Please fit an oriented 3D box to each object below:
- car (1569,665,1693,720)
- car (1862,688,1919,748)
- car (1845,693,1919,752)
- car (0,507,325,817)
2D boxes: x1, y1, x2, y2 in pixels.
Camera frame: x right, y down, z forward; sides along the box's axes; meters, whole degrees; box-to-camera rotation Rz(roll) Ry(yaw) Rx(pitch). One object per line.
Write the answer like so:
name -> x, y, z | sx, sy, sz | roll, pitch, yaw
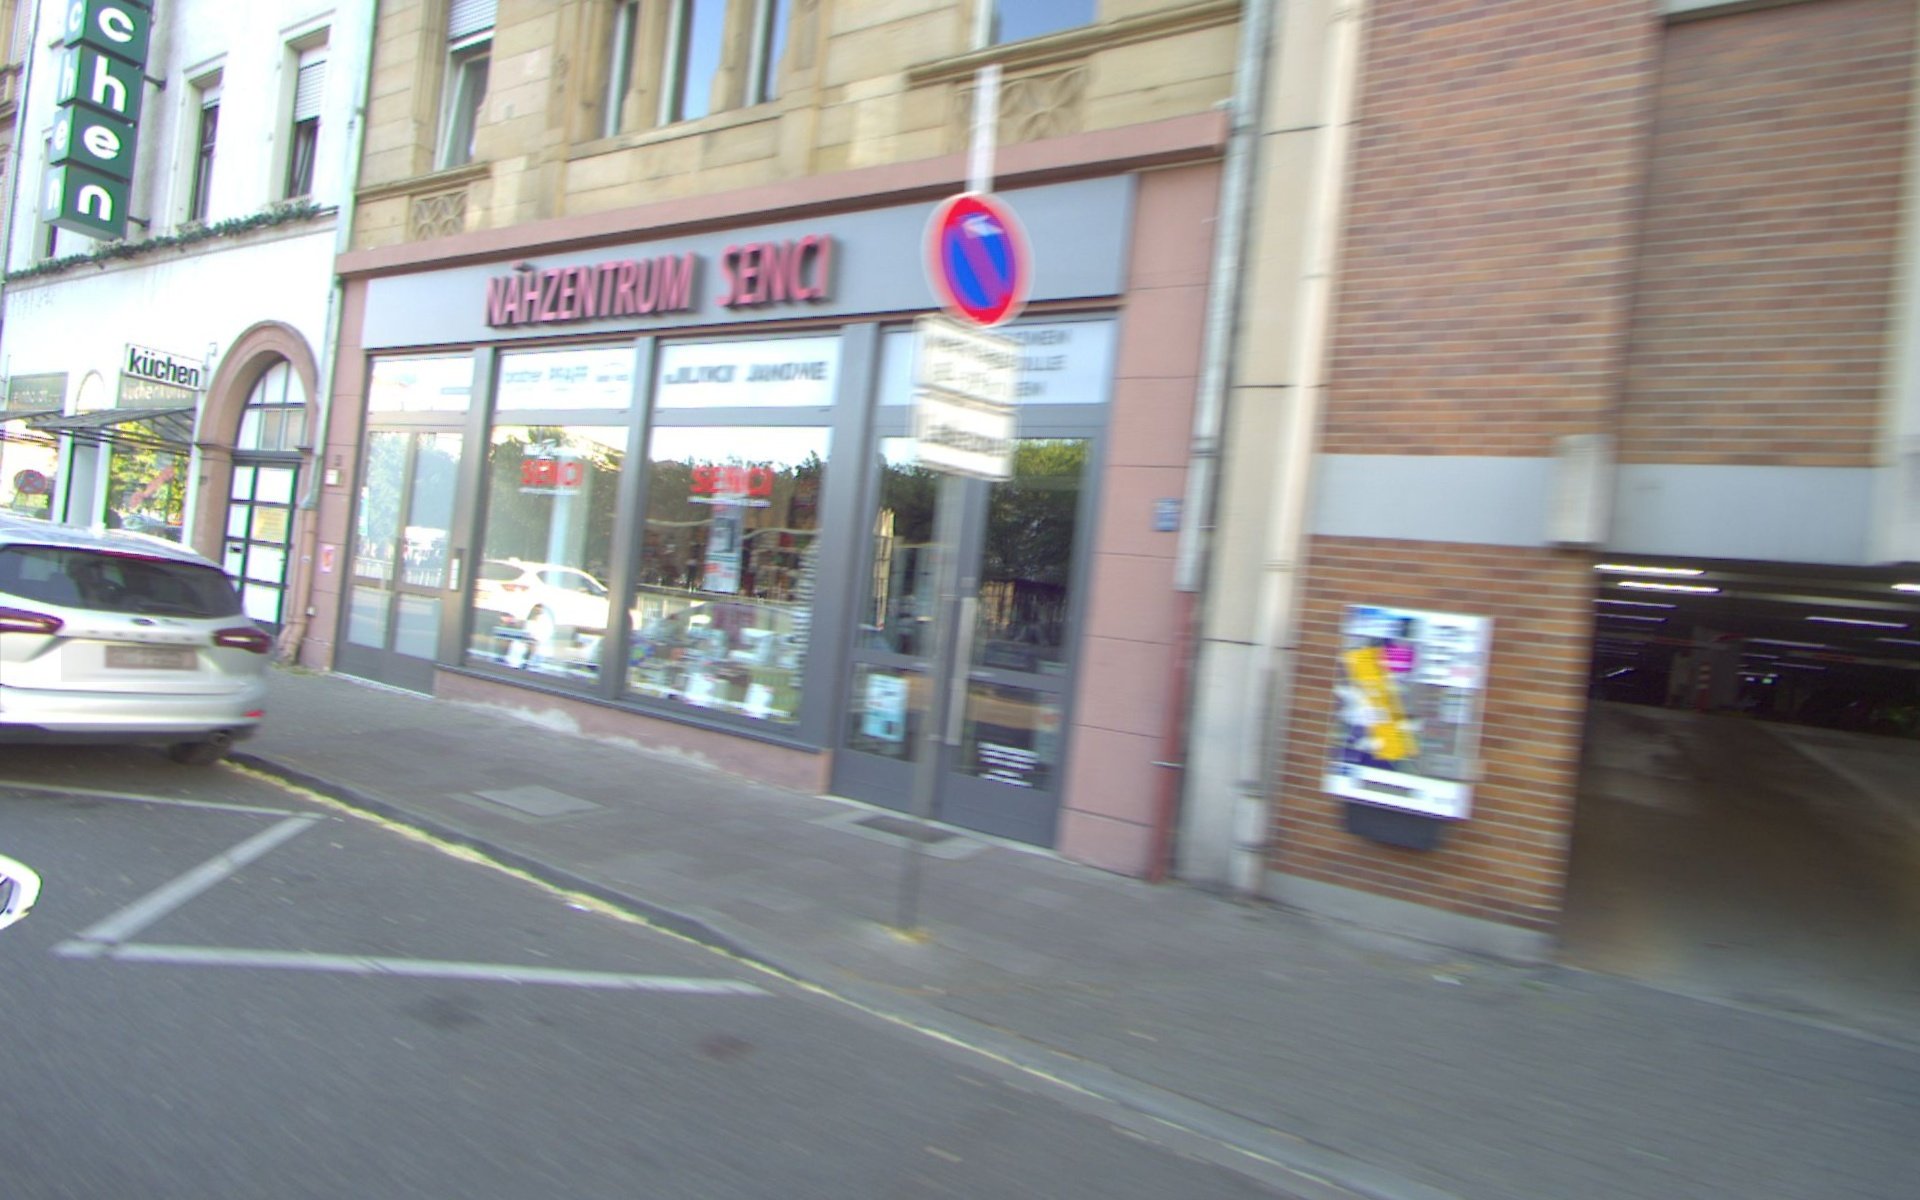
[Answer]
car -> 25.843, 3.518, 38.911 | 1.794, 1.620, 3.999 | 7, -1, -4
car -> 29.482, 3.705, 29.725 | 1.815, 1.620, 3.953 | 8, -1, -42
car -> 30.784, 4.052, 31.779 | 1.815, 1.620, 3.953 | 8, -1, -42
car -> -6.587, 0.188, 6.748 | 4.740, 1.553, 1.764 | 6, -4, 30
